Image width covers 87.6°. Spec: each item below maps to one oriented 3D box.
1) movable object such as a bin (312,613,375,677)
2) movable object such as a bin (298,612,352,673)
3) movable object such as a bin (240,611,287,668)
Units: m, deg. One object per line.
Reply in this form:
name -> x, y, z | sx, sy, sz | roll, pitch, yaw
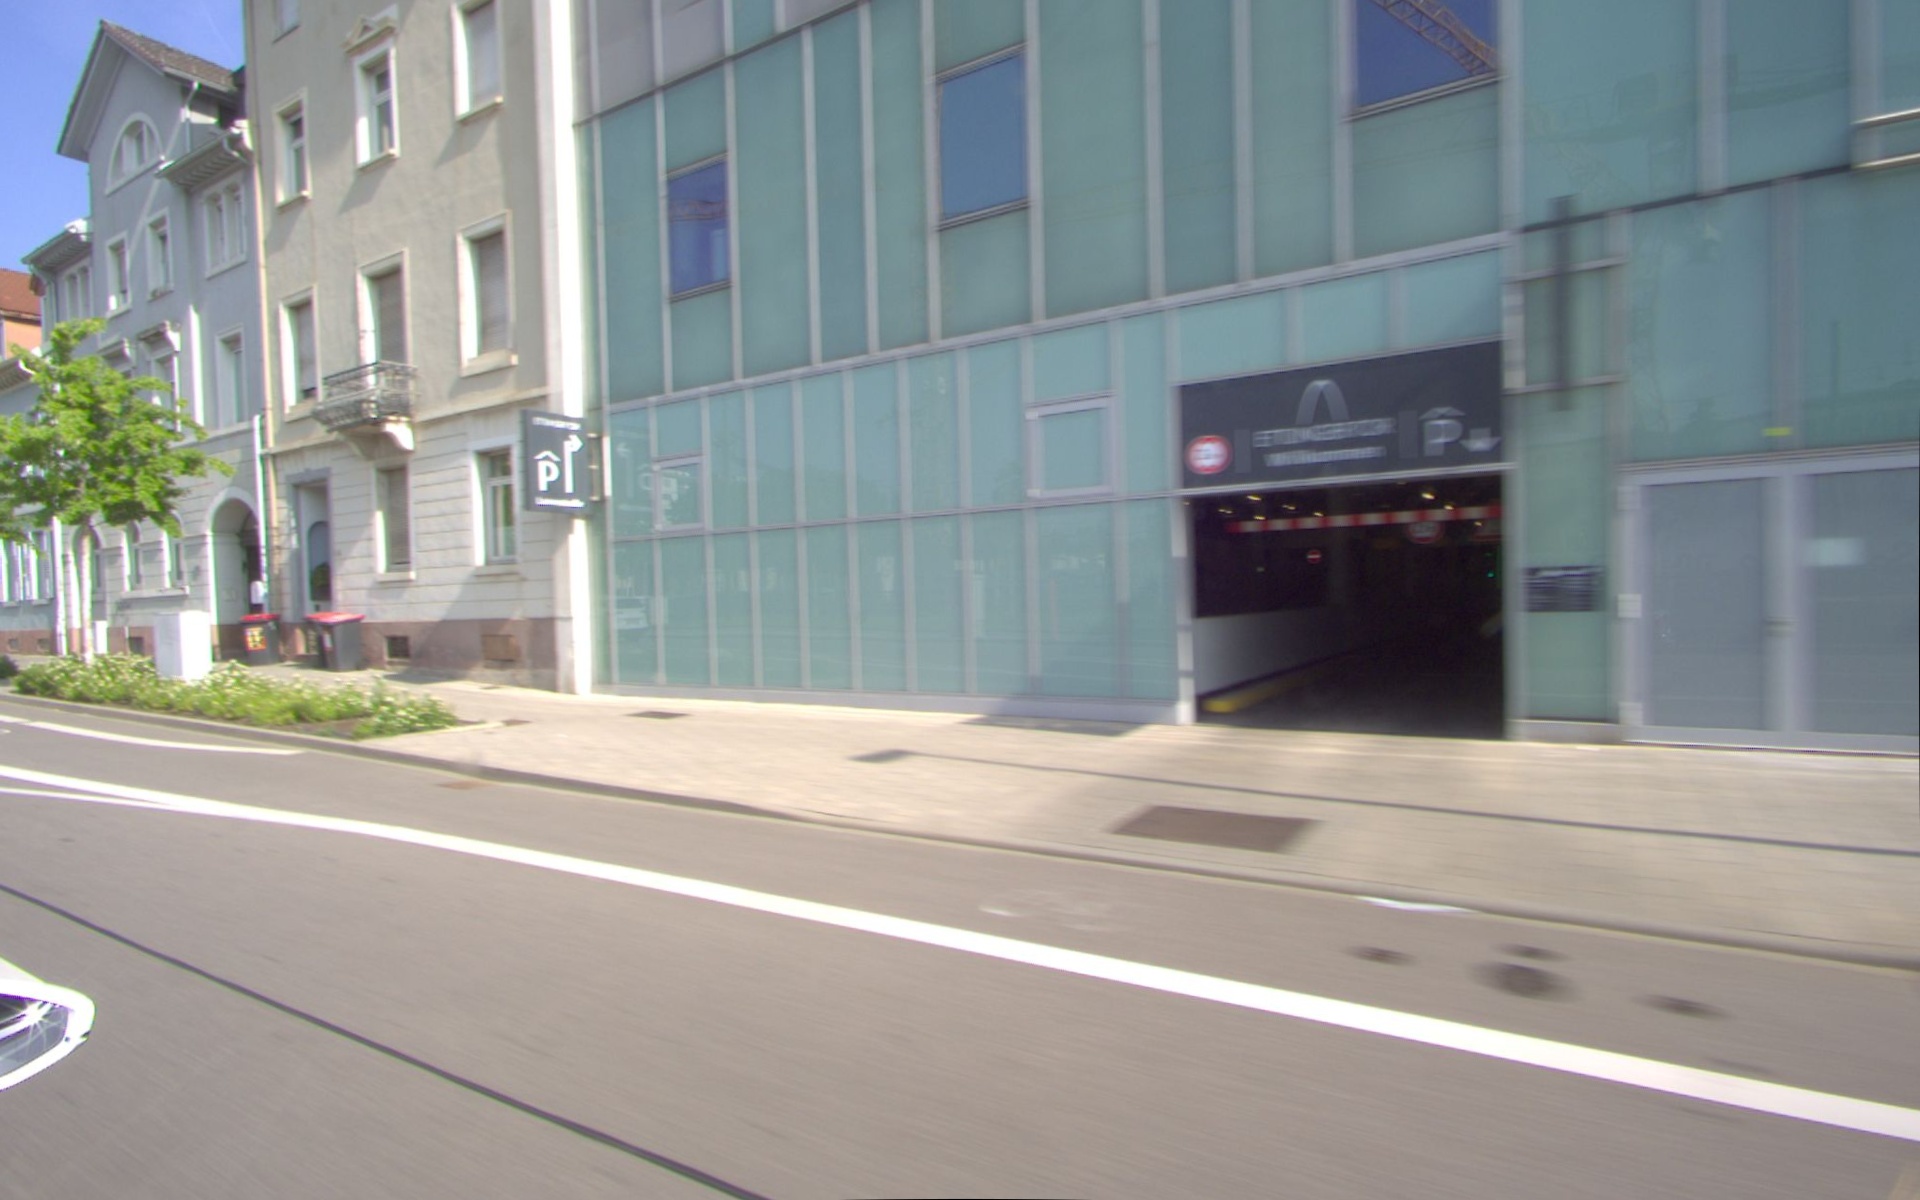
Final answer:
movable object such as a bin -> -12.020, 0.853, 19.537 | 0.796, 1.188, 0.780 | 2, 2, 32
movable object such as a bin -> -12.768, 0.844, 20.143 | 0.661, 1.168, 0.703 | 2, 2, 32
movable object such as a bin -> -14.853, 0.837, 21.368 | 0.606, 1.168, 0.670 | 1, 1, -11
